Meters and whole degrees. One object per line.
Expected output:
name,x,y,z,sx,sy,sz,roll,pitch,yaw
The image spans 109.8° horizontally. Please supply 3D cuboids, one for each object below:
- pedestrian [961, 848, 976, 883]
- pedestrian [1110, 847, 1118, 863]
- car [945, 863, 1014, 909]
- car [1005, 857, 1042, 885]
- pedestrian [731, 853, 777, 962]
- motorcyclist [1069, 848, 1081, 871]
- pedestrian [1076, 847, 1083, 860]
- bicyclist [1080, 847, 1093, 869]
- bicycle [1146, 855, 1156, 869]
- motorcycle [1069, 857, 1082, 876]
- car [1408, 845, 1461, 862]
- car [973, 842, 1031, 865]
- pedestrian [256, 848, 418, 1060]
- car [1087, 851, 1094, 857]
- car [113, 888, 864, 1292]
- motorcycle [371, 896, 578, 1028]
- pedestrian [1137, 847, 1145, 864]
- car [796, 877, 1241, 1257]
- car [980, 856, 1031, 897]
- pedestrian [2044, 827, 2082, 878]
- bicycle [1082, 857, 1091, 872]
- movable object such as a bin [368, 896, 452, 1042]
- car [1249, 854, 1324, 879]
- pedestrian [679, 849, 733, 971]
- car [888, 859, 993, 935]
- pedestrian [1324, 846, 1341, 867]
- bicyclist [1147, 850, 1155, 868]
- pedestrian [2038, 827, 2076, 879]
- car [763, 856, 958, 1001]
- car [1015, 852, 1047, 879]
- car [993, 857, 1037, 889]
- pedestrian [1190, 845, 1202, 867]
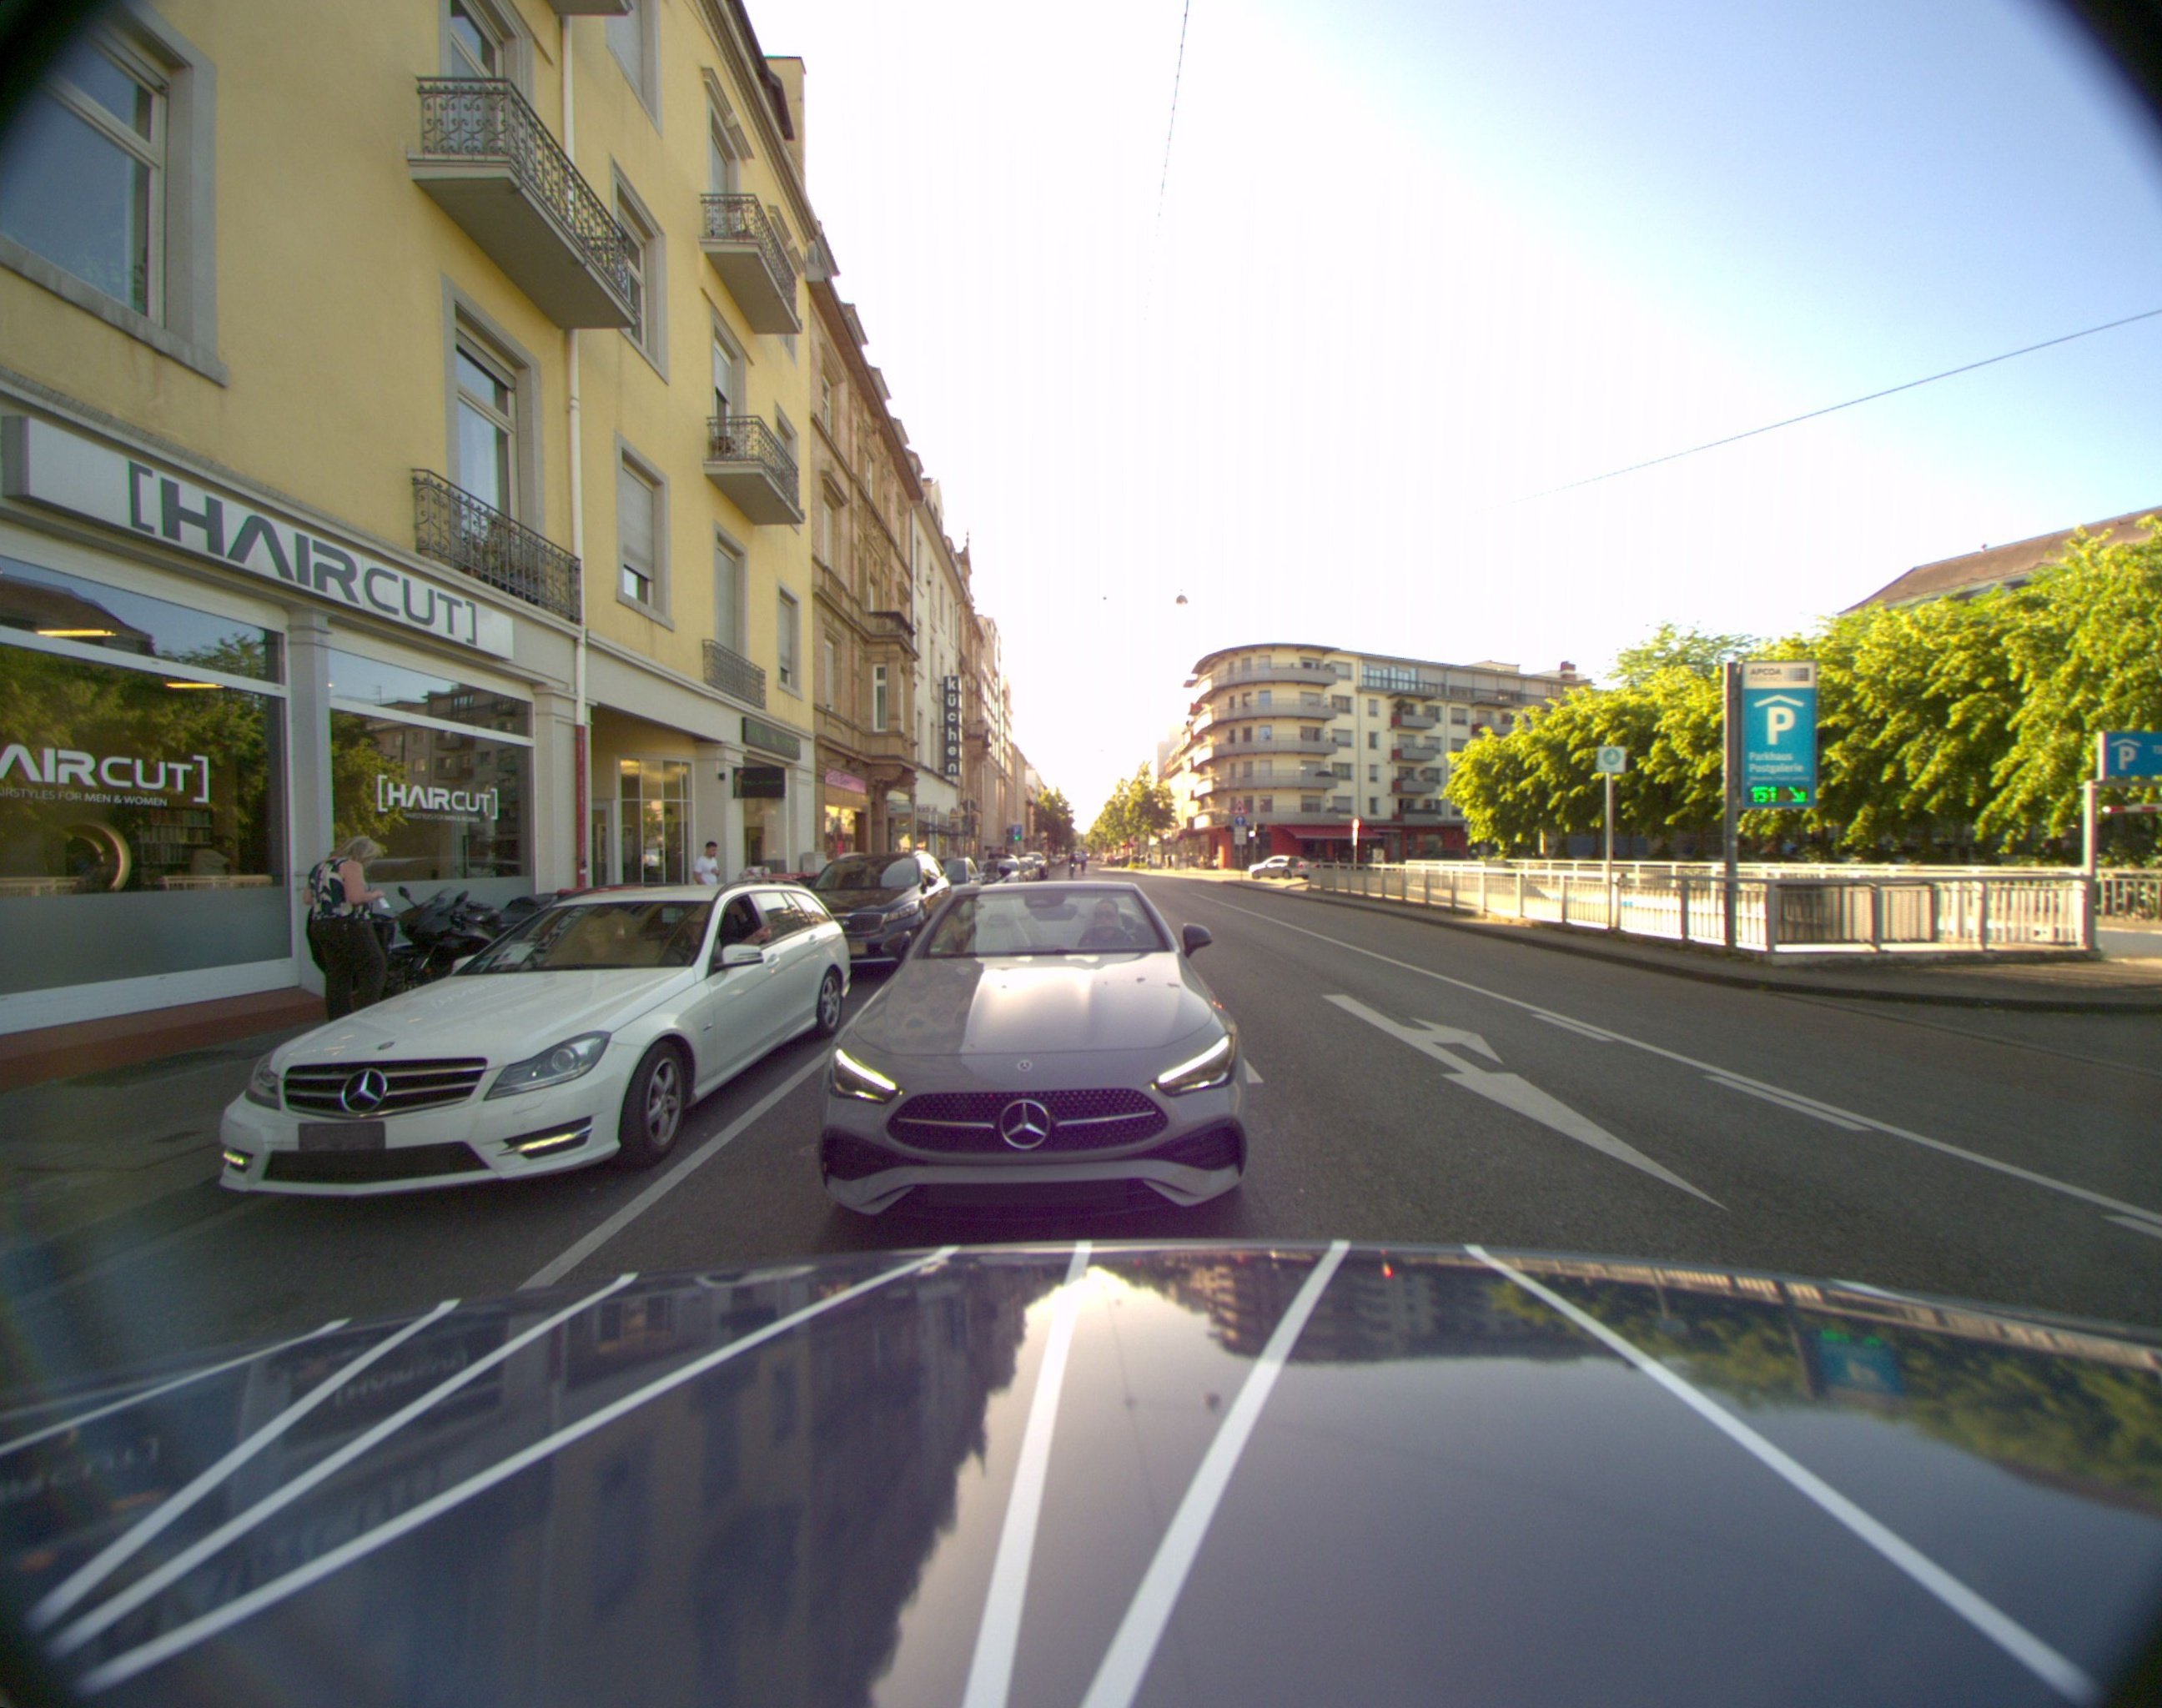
pedestrian,-5.962,0.617,40.327,0.574,1.840,0.665,-2,1,1
pedestrian,4.105,0.125,93.890,0.860,2.002,0.889,-2,1,1
car,-3.382,1.031,25.952,1.802,1.259,4.085,-2,1,-1
car,-3.063,0.869,41.191,1.725,1.332,3.668,-2,1,-1
pedestrian,-5.712,0.908,13.261,0.576,1.840,0.663,-3,1,-30
motorcyclist,-0.390,0.339,49.005,0.722,1.438,0.705,-2,1,2
pedestrian,-0.254,-0.094,130.783,1.205,2.153,1.280,-2,1,1
bicyclist,0.411,0.294,58.123,0.885,1.625,0.768,-2,1,0
bicycle,6.130,0.712,66.490,0.527,1.163,1.592,-2,1,-6
motorcycle,-0.373,0.789,49.072,0.720,1.177,1.906,-2,1,2
car,29.057,-0.054,62.442,4.004,1.294,1.753,-2,1,-23
car,-5.884,-0.035,56.404,4.001,1.543,1.855,-2,1,-12
pedestrian,-6.044,0.777,6.206,0.719,1.644,0.606,1,1,1
car,2.490,-0.127,200.623,1.615,1.534,3.931,-1,0,1
car,-3.042,1.071,5.296,1.704,1.351,4.378,-2,1,1
motorcycle,-6.202,1.042,7.936,0.567,1.072,1.954,2,1,1
pedestrian,7.086,0.203,89.543,0.792,2.002,0.889,-2,1,1
car,-0.255,0.953,5.167,1.802,1.351,3.999,-2,1,0
car,-2.995,0.866,30.722,1.660,1.423,4.085,-2,1,-1
pedestrian,33.752,-0.062,26.114,0.647,1.711,0.607,-3,1,-19
bicycle,0.396,0.823,57.988,0.640,1.078,2.061,-1,0,0
movable object such as a bin,-5.922,0.998,6.717,0.391,1.231,0.394,1,1,1
car,12.380,0.734,46.013,1.828,1.346,4.253,0,1,-32
pedestrian,-6.279,0.914,12.728,0.373,1.971,0.695,0,1,23
car,-3.291,0.942,18.592,1.802,1.518,4.085,-2,1,-1
pedestrian,19.265,0.197,58.163,0.863,1.586,0.887,-3,1,-38
bicyclist,6.114,0.452,66.461,0.525,1.539,0.798,-2,1,-6
pedestrian,33.186,-0.032,25.848,0.647,1.711,0.607,-3,1,-19
car,-3.006,0.906,11.333,1.803,1.629,4.243,-2,1,-3
car,-3.076,0.695,47.750,1.725,1.506,4.004,-2,1,-1
car,-3.136,0.881,36.921,1.802,1.332,3.838,-2,1,-1
pedestrian,10.300,0.177,68.197,0.860,2.002,0.889,-2,1,0
